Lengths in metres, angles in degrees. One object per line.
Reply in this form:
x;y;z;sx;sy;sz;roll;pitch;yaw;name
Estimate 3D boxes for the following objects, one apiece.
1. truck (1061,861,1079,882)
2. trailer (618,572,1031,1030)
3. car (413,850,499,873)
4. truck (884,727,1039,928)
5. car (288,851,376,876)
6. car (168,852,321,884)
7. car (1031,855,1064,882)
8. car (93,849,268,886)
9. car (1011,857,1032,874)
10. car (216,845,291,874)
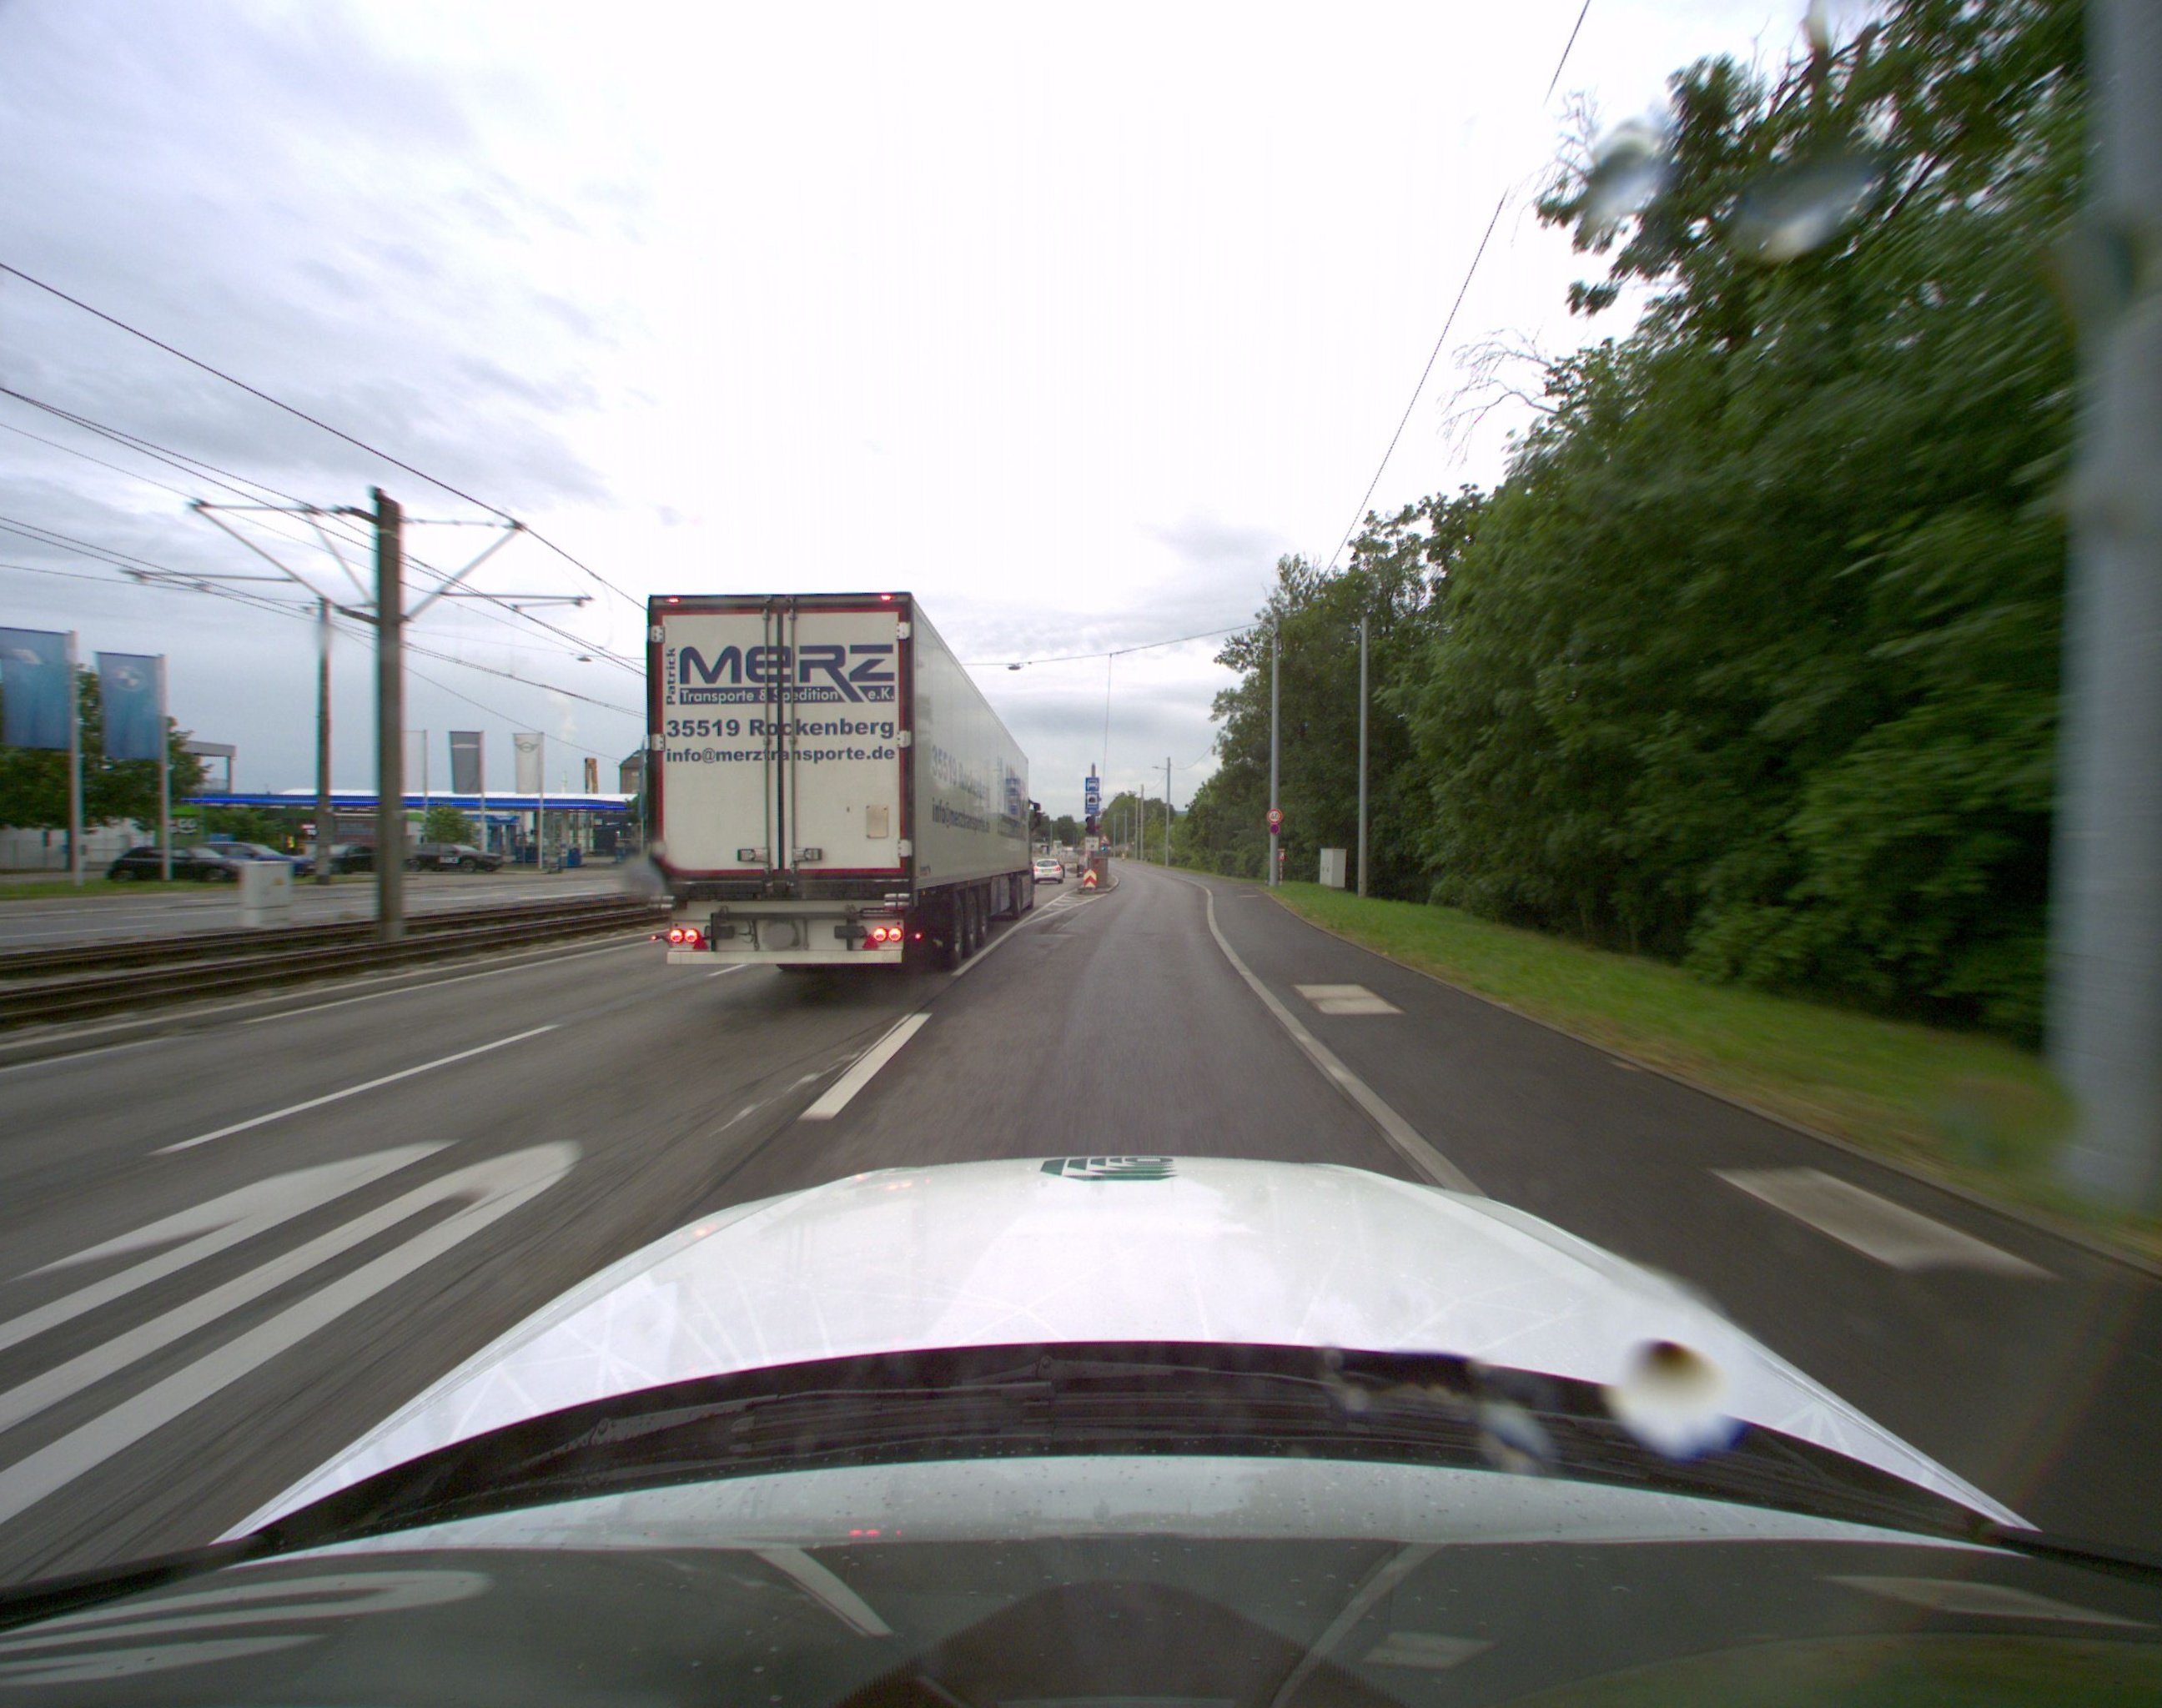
-2.119;3.531;164.615;3.507;4.040;8.072;-1;0;0;truck
-2.814;-0.539;14.255;2.753;4.252;13.185;-1;0;1;trailer
-34.607;0.407;45.144;3.501;1.274;1.718;0;0;3;car
-2.707;-0.579;20.437;2.746;4.205;6.307;-1;0;1;truck
-39.495;0.495;43.028;1.582;1.243;3.425;0;0;-4;car
-34.304;0.560;33.548;4.002;1.235;1.748;0;-1;-22;car
-1.984;0.827;49.165;1.804;1.423;4.000;-1;2;-1;car
-33.549;0.493;30.491;4.002;1.235;1.691;1;2;-22;car
-5.487;1.070;76.050;1.676;1.446;4.000;-1;2;-1;car
-46.547;0.286;45.855;1.378;1.573;2.799;1;0;-2;car
